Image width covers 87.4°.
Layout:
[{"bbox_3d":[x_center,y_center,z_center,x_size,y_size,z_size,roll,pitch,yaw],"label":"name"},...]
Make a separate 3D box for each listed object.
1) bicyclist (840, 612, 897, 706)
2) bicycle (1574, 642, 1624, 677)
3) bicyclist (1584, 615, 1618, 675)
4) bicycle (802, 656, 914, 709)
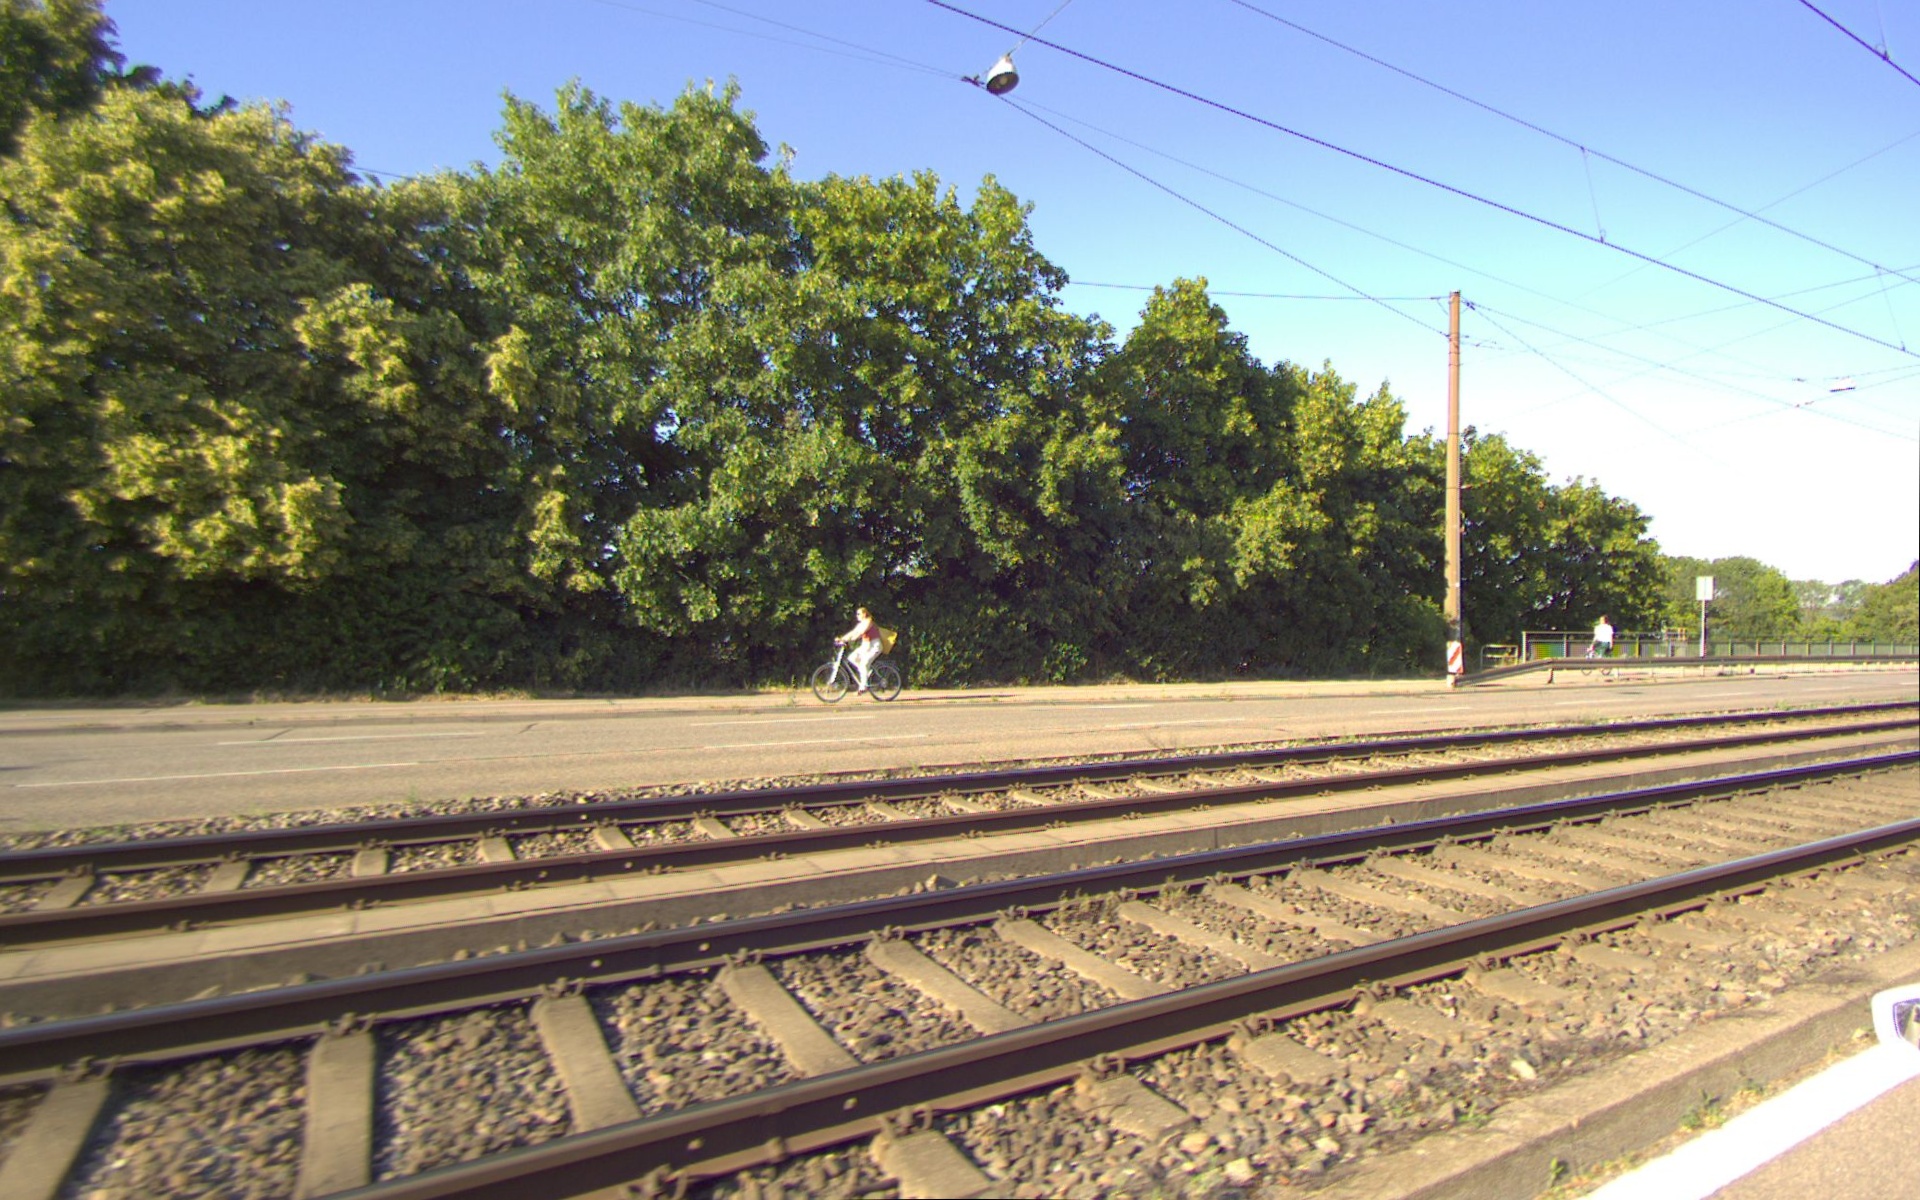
[{"bbox_3d":[-1.709,1.084,18.706,0.907,1.710,0.506,1,0,-27],"label":"bicyclist"},{"bbox_3d":[20.480,1.889,32.168,1.903,1.057,0.537,1,0,-31],"label":"bicycle"},{"bbox_3d":[20.545,1.444,32.199,0.865,1.887,0.537,1,0,-30],"label":"bicyclist"},{"bbox_3d":[-1.878,1.507,18.628,2.001,0.904,0.506,1,0,-28],"label":"bicycle"}]
